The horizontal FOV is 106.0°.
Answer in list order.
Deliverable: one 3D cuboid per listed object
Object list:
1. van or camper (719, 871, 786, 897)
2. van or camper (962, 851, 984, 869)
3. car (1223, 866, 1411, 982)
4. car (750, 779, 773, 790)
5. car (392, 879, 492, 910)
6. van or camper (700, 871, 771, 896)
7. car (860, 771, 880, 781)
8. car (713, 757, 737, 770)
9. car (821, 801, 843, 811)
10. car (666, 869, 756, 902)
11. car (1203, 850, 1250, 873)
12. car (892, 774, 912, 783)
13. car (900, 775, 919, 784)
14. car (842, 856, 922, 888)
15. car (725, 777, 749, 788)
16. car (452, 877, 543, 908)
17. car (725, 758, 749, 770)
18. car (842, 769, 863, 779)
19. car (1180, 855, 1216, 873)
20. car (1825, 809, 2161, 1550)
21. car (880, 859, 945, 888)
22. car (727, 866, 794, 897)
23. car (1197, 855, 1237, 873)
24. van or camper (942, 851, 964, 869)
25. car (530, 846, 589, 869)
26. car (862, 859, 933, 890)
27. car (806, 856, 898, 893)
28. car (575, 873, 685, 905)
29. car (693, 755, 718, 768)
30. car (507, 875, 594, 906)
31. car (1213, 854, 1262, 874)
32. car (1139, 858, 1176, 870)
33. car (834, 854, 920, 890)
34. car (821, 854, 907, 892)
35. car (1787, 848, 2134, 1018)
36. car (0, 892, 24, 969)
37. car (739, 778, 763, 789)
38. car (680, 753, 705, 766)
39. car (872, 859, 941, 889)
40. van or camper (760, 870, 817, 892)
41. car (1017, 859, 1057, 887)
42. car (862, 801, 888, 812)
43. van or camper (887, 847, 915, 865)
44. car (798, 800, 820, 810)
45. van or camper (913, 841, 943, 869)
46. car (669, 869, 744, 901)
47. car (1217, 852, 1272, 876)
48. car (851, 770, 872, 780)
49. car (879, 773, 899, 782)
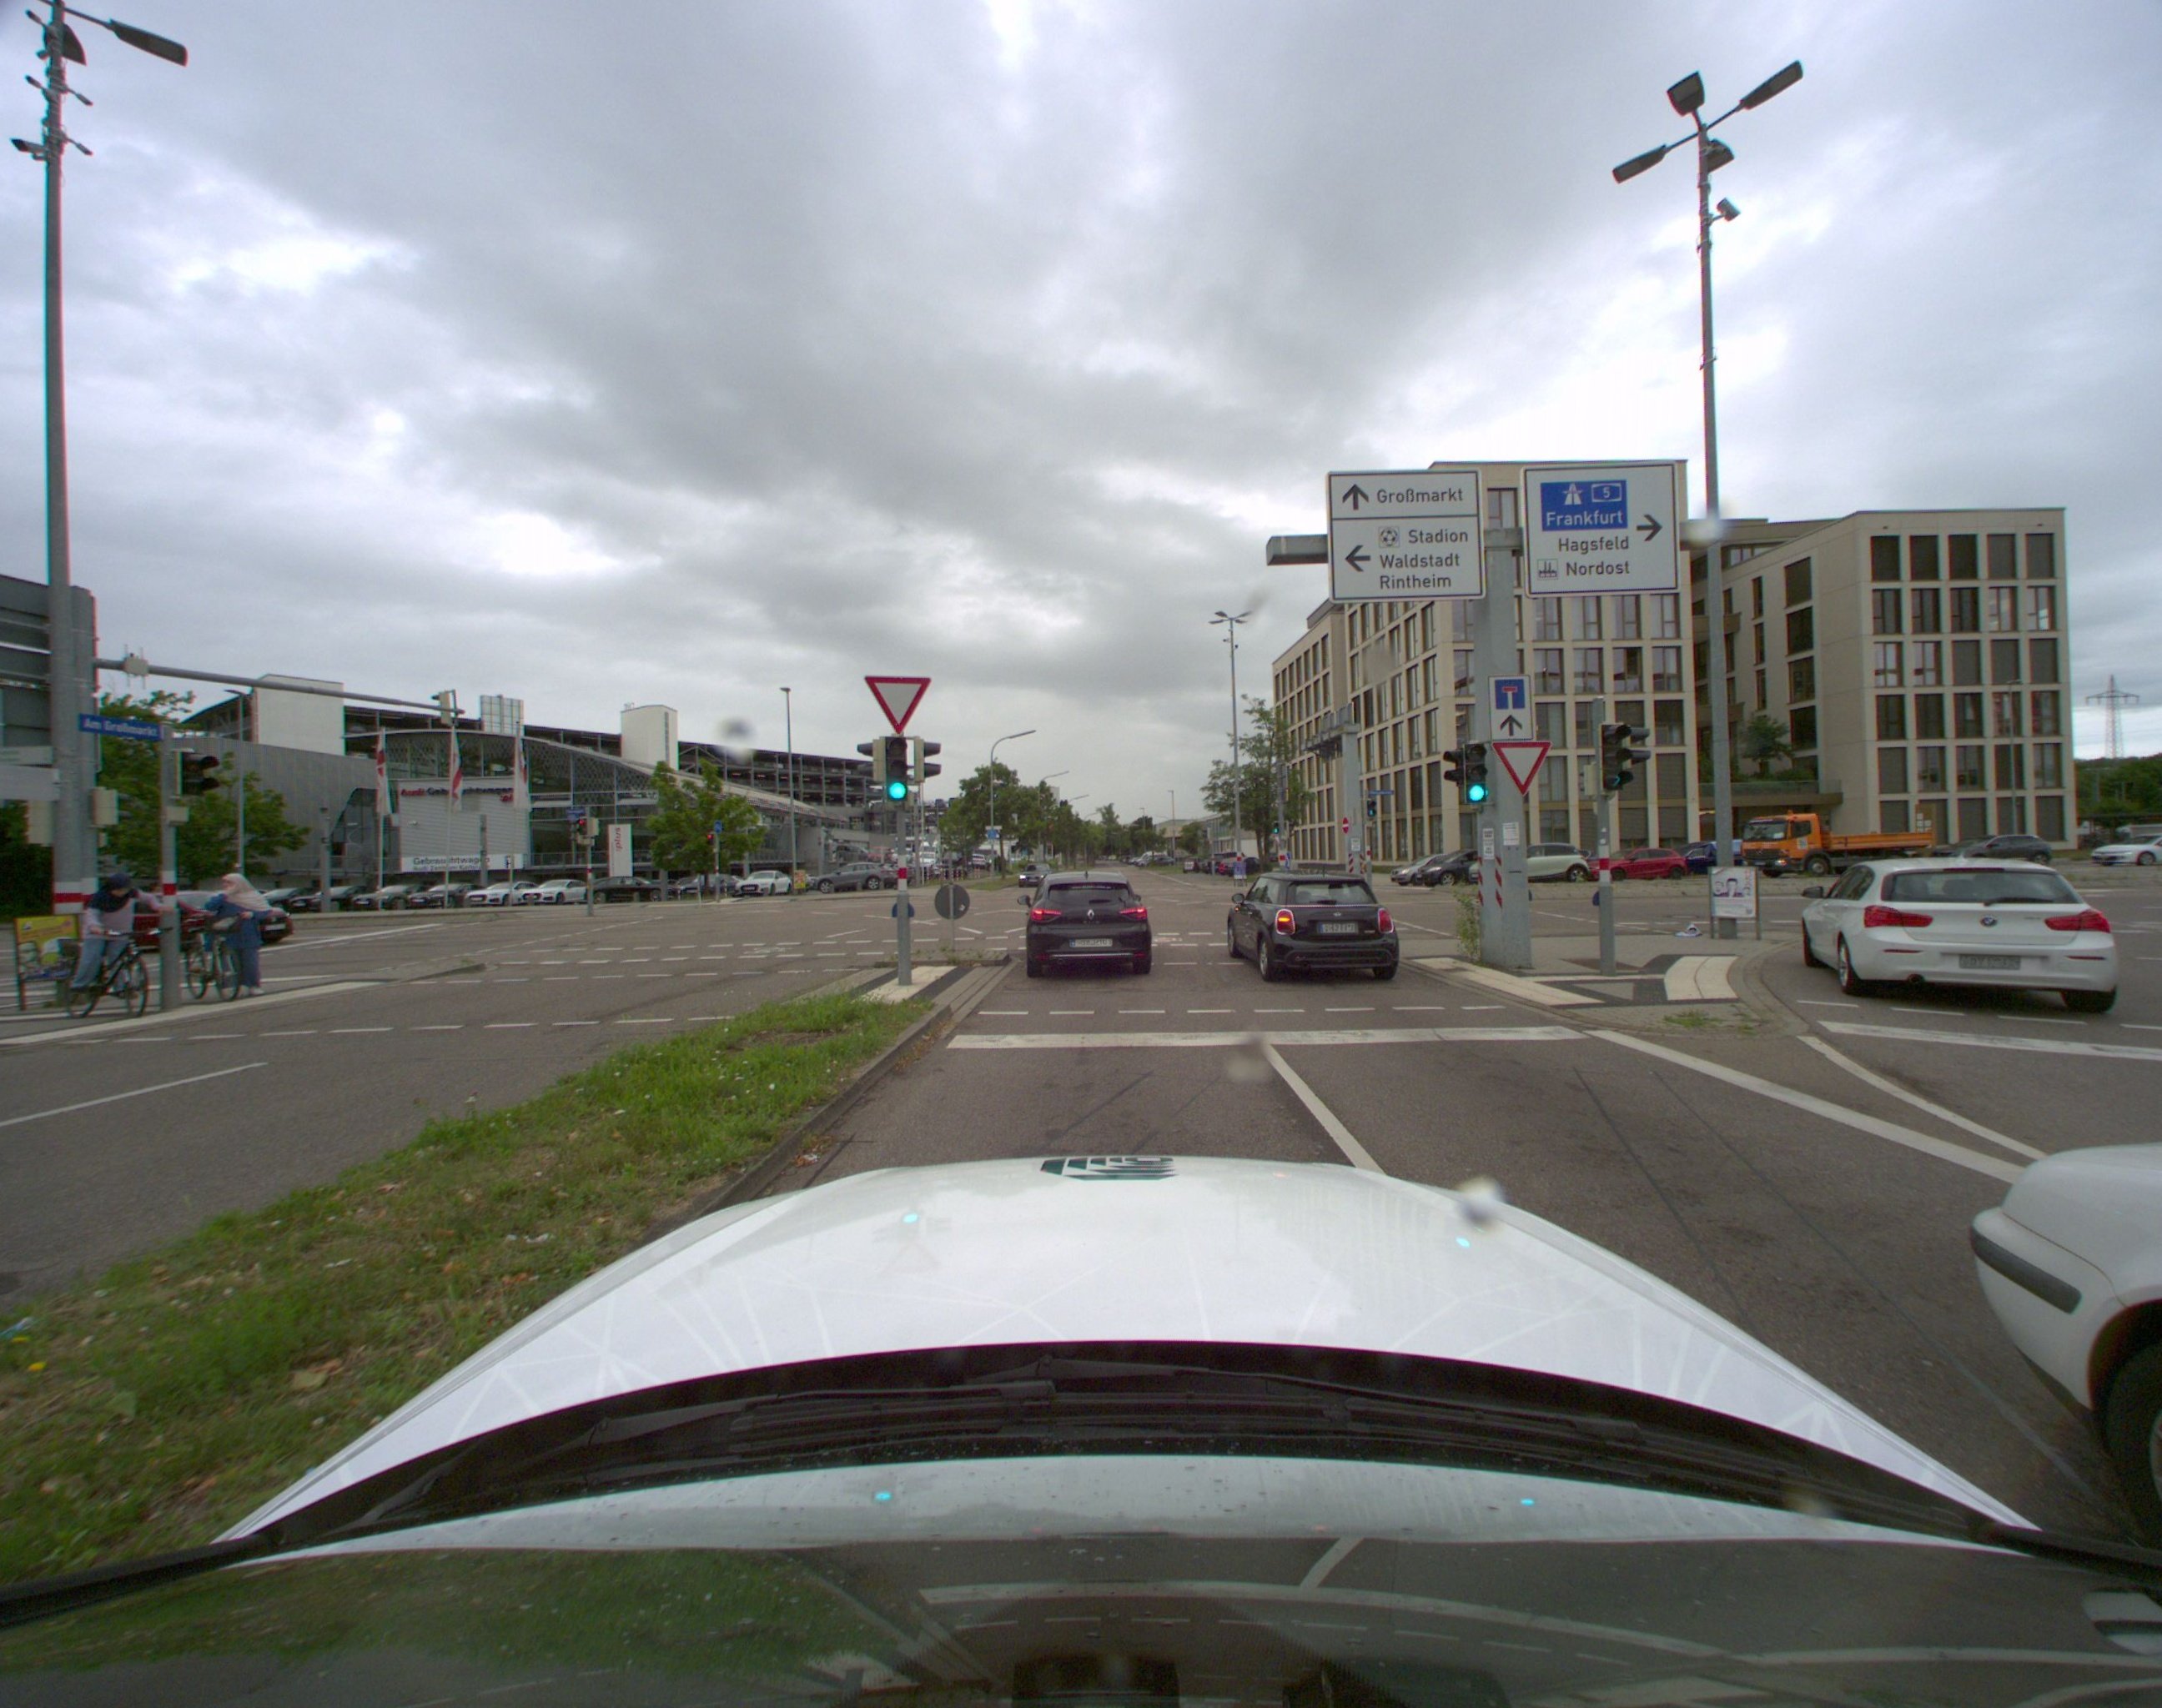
[{"bbox_3d":[-23.529,2.138,58.454,3.977,1.816,1.845,0,-1,-2],"label":"van or camper"},{"bbox_3d":[-12.154,0.686,91.729,1.988,2.014,3.997,0,-1,-2],"label":"van or camper"},{"bbox_3d":[3.202,0.894,11.801,1.779,1.416,3.644,0,-1,2],"label":"car"},{"bbox_3d":[-58.000,-12.549,147.837,3.948,1.667,2.013,-1,-1,33],"label":"car"},{"bbox_3d":[-32.915,2.109,42.117,1.860,1.486,4.229,-2,-3,-1],"label":"car"},{"bbox_3d":[-23.488,2.013,55.493,3.977,1.677,1.998,0,-1,-2],"label":"van or camper"},{"bbox_3d":[-44.139,-16.307,170.278,3.948,1.667,2.013,-1,-1,33],"label":"car"},{"bbox_3d":[-62.011,-15.780,141.909,3.948,1.667,2.013,-1,-1,33],"label":"car"},{"bbox_3d":[-49.343,-9.576,161.254,3.948,1.667,2.013,-1,-1,33],"label":"car"},{"bbox_3d":[-23.838,2.002,52.560,4.788,1.939,1.999,-2,-1,-1],"label":"car"},{"bbox_3d":[12.633,0.637,70.467,1.975,1.965,4.270,-3,-2,43],"label":"car"},{"bbox_3d":[-39.073,-16.474,177.831,3.948,1.667,2.013,-1,-1,33],"label":"car"},{"bbox_3d":[-37.895,-16.482,179.747,3.948,1.667,2.013,-1,-1,33],"label":"car"},{"bbox_3d":[-13.641,1.242,56.033,4.938,1.876,2.050,-3,-2,-5],"label":"car"},{"bbox_3d":[-60.765,-12.629,143.761,3.948,1.667,2.013,-1,-1,33],"label":"car"},{"bbox_3d":[-30.168,2.018,42.259,1.865,1.486,4.041,-2,-3,-1],"label":"car"},{"bbox_3d":[-60.883,-15.948,144.066,3.948,1.667,2.013,-1,-1,33],"label":"car"},{"bbox_3d":[-46.545,-16.279,165.731,3.948,1.667,2.013,-1,-1,33],"label":"car"},{"bbox_3d":[11.534,1.028,80.209,3.451,1.732,1.745,1,-2,-40],"label":"car"},{"bbox_3d":[3.026,0.620,0.349,1.826,1.478,4.006,0,-1,2],"label":"car"},{"bbox_3d":[-13.796,1.604,66.899,4.882,2.014,1.998,-3,-1,-3],"label":"car"},{"bbox_3d":[-16.954,1.491,43.299,1.863,1.486,4.226,-2,-2,-1],"label":"car"},{"bbox_3d":[12.359,0.875,73.874,1.676,1.511,3.840,-3,-2,45],"label":"car"},{"bbox_3d":[-14.353,0.686,91.592,1.988,2.014,3.997,0,-1,-2],"label":"van or camper"},{"bbox_3d":[-37.781,0.283,59.102,1.815,1.662,3.995,0,-1,-3],"label":"car"},{"bbox_3d":[-13.775,1.510,61.345,4.882,2.014,1.998,-3,-1,-3],"label":"car"},{"bbox_3d":[-13.368,1.212,47.814,4.761,1.863,1.998,-3,-1,-3],"label":"car"},{"bbox_3d":[-23.807,1.867,43.083,4.726,1.486,1.891,-2,-3,-2],"label":"car"},{"bbox_3d":[-64.310,-15.830,139.486,3.948,1.667,2.013,-1,-1,33],"label":"car"},{"bbox_3d":[-27.604,1.925,42.542,1.841,1.486,4.195,-2,-3,-1],"label":"car"},{"bbox_3d":[12.949,0.851,67.251,4.157,1.551,1.865,0,-2,-43],"label":"car"},{"bbox_3d":[11.266,1.537,120.017,5.158,1.720,2.143,0,-1,-1],"label":"car"},{"bbox_3d":[-13.308,1.195,53.395,5.011,2.014,2.263,-3,-1,-3],"label":"car"},{"bbox_3d":[-13.387,1.190,50.387,4.690,2.014,1.998,-3,-1,-3],"label":"car"},{"bbox_3d":[9.280,0.707,9.037,1.811,1.410,4.224,-1,-2,36],"label":"car"},{"bbox_3d":[-25.597,1.783,16.955,4.311,1.636,1.884,-2,2,-4],"label":"car"},{"bbox_3d":[-59.090,-12.586,145.873,3.948,1.667,2.013,-1,-1,33],"label":"car"},{"bbox_3d":[-65.510,-15.876,137.339,3.948,1.667,2.013,-1,-1,33],"label":"car"},{"bbox_3d":[-13.685,1.539,64.064,4.882,2.014,1.998,-3,-1,-3],"label":"car"},{"bbox_3d":[-23.790,2.187,66.356,3.977,1.712,1.845,0,-1,-2],"label":"van or camper"},{"bbox_3d":[-2.626,1.133,49.715,1.970,1.551,4.617,-2,0,3],"label":"car"},{"bbox_3d":[-43.623,-10.098,172.807,5.263,1.945,2.224,-1,-1,30],"label":"car"},{"bbox_3d":[-17.690,0.195,80.325,1.988,1.651,3.997,0,-1,-2],"label":"van or camper"},{"bbox_3d":[-52.368,-9.441,156.671,3.948,1.667,2.013,-1,-1,33],"label":"car"},{"bbox_3d":[-17.178,0.147,91.699,2.529,3.027,4.839,0,-1,-2],"label":"van or camper"},{"bbox_3d":[-19.757,1.669,43.175,2.059,1.486,4.510,-3,-3,-3],"label":"car"},{"bbox_3d":[12.634,0.746,62.869,4.153,1.768,1.867,-1,-2,-38],"label":"car"},{"bbox_3d":[-45.366,-16.266,168.328,3.948,1.667,2.013,-1,-1,33],"label":"car"},{"bbox_3d":[-41.053,-16.376,174.521,3.948,1.667,2.013,-1,-1,33],"label":"car"}]
